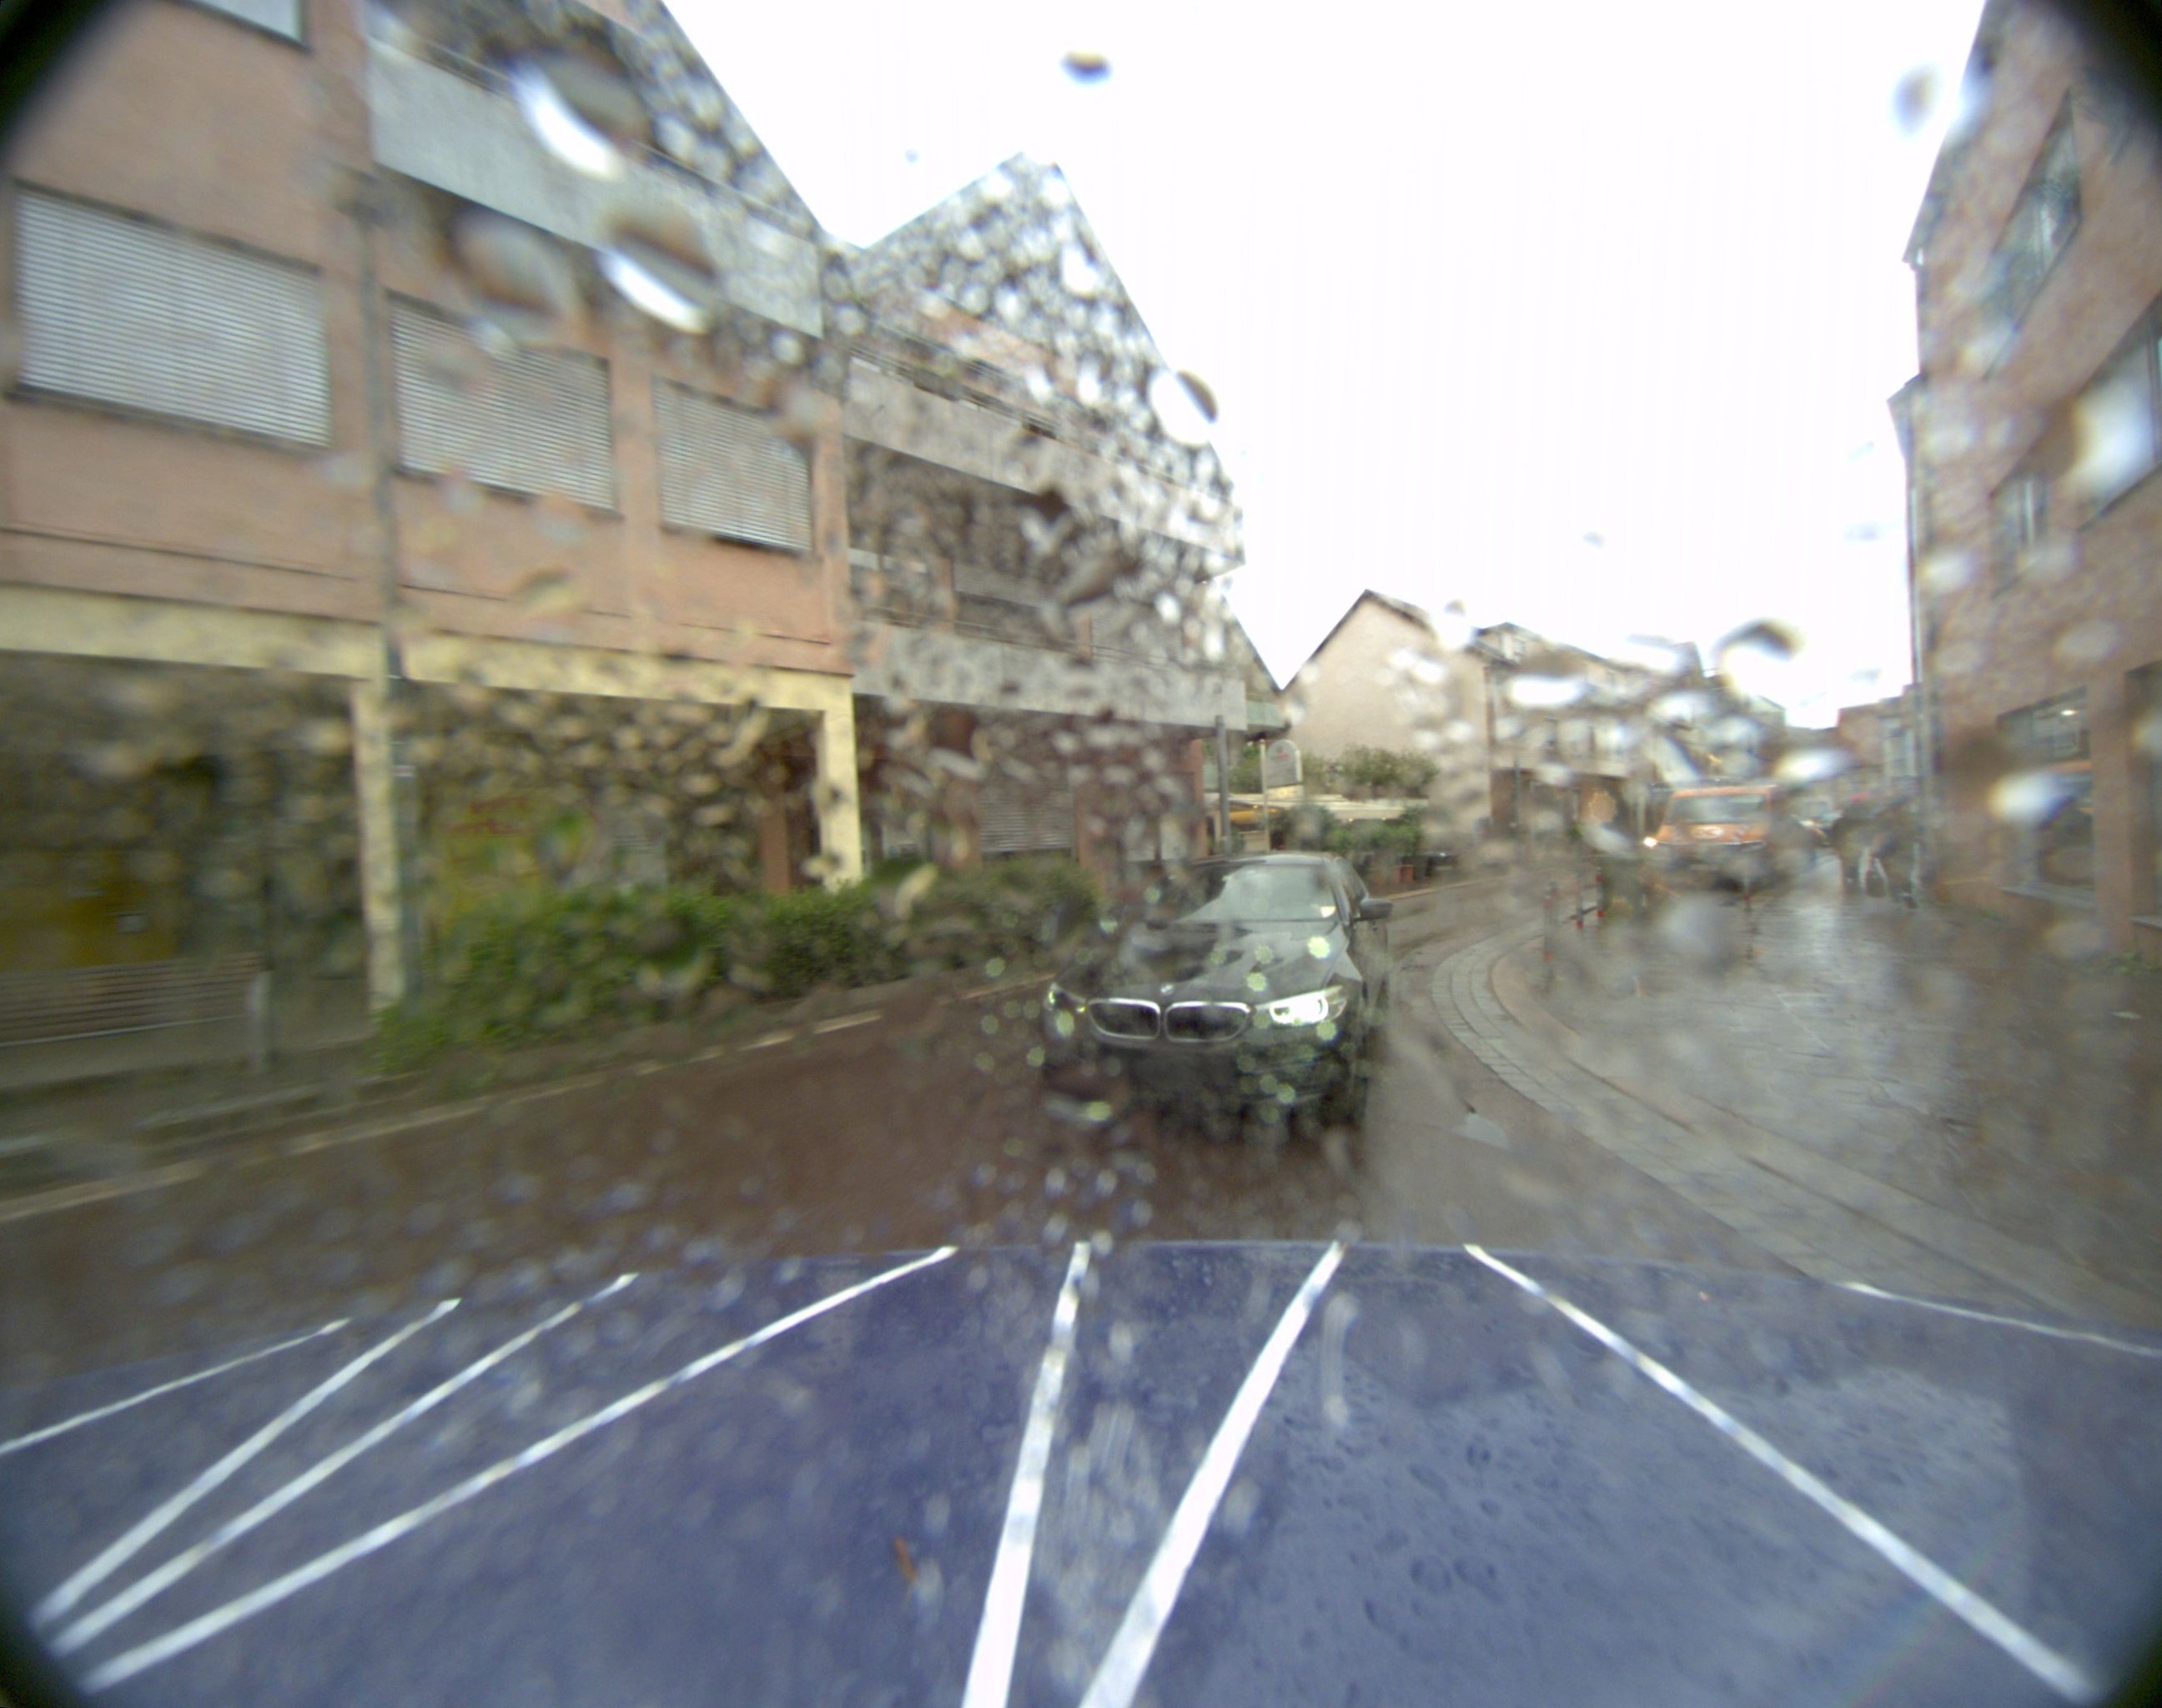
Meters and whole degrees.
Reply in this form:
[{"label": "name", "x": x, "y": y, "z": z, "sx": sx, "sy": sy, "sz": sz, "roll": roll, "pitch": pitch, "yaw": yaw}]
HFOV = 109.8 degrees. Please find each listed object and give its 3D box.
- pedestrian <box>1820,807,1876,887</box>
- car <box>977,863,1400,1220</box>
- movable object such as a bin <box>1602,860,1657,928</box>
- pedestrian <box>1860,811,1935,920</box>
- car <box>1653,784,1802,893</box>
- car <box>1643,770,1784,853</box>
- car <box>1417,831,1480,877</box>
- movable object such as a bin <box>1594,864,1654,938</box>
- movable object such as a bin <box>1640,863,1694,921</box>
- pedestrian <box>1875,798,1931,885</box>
[{"label": "pedestrian", "x": 16.285, "y": -0.150, "z": 16.146, "sx": 0.715, "sy": 1.630, "sz": 0.747, "roll": -4, "pitch": 1, "yaw": 41}, {"label": "car", "x": 1.269, "y": 0.908, "z": 5.808, "sx": 1.944, "sy": 1.394, "sz": 4.426, "roll": -3, "pitch": 1, "yaw": 25}, {"label": "movable object such as a bin", "x": 8.821, "y": 0.633, "z": 12.221, "sx": 0.657, "sy": 1.031, "sz": 0.611, "roll": -2, "pitch": 2, "yaw": 40}, {"label": "pedestrian", "x": 12.435, "y": 0.165, "z": 11.591, "sx": 0.660, "sy": 1.601, "sz": 0.685, "roll": -2, "pitch": 1, "yaw": 38}, {"label": "car", "x": 15.631, "y": -0.434, "z": 18.219, "sx": 5.871, "sy": 2.227, "sz": 1.994, "roll": -4, "pitch": 2, "yaw": -43}, {"label": "car", "x": 25.839, "y": -1.659, "z": 30.839, "sx": 8.860, "sy": 2.857, "sz": 2.705, "roll": -3, "pitch": 0, "yaw": -40}, {"label": "car", "x": 12.354, "y": -0.035, "z": 25.515, "sx": 1.735, "sy": 1.349, "sz": 3.942, "roll": -2, "pitch": 1, "yaw": 26}, {"label": "movable object such as a bin", "x": 8.035, "y": 0.683, "z": 11.238, "sx": 0.657, "sy": 1.031, "sz": 0.611, "roll": -2, "pitch": 2, "yaw": 40}, {"label": "movable object such as a bin", "x": 9.880, "y": 0.648, "z": 12.815, "sx": 0.482, "sy": 0.921, "sz": 0.582, "roll": -4, "pitch": -1, "yaw": -41}, {"label": "pedestrian", "x": 16.850, "y": -0.261, "z": 15.597, "sx": 0.623, "sy": 1.702, "sz": 0.810, "roll": -4, "pitch": 1, "yaw": 41}]
